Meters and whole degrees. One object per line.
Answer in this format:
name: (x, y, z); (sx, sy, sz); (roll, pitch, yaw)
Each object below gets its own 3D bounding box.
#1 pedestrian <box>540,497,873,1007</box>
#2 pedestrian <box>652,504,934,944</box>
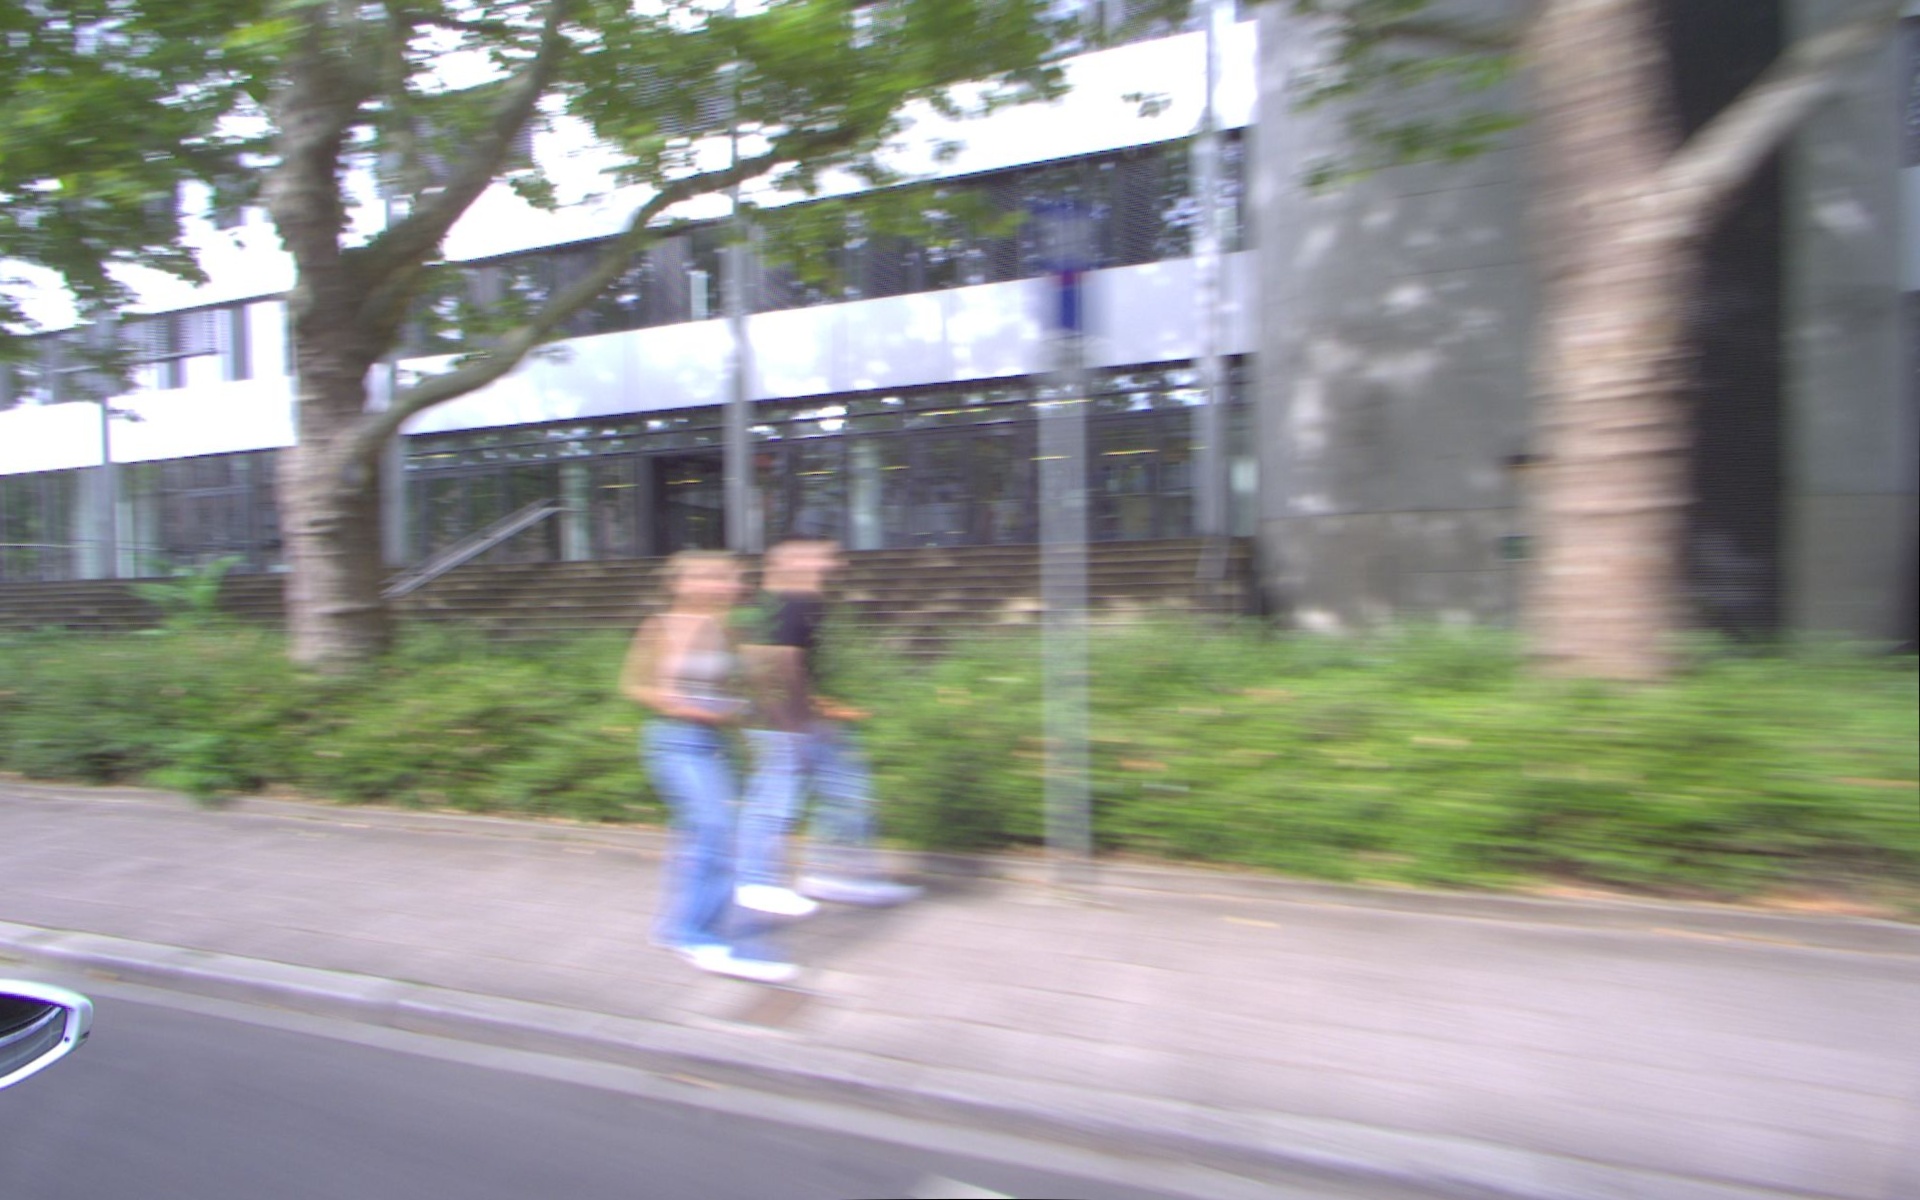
pedestrian: (-0.983, 0.543, 4.025); (1.015, 1.808, 0.711); (-1, 2, 18)
pedestrian: (-0.744, 0.518, 4.635); (1.015, 1.825, 0.715); (-1, 2, 18)
